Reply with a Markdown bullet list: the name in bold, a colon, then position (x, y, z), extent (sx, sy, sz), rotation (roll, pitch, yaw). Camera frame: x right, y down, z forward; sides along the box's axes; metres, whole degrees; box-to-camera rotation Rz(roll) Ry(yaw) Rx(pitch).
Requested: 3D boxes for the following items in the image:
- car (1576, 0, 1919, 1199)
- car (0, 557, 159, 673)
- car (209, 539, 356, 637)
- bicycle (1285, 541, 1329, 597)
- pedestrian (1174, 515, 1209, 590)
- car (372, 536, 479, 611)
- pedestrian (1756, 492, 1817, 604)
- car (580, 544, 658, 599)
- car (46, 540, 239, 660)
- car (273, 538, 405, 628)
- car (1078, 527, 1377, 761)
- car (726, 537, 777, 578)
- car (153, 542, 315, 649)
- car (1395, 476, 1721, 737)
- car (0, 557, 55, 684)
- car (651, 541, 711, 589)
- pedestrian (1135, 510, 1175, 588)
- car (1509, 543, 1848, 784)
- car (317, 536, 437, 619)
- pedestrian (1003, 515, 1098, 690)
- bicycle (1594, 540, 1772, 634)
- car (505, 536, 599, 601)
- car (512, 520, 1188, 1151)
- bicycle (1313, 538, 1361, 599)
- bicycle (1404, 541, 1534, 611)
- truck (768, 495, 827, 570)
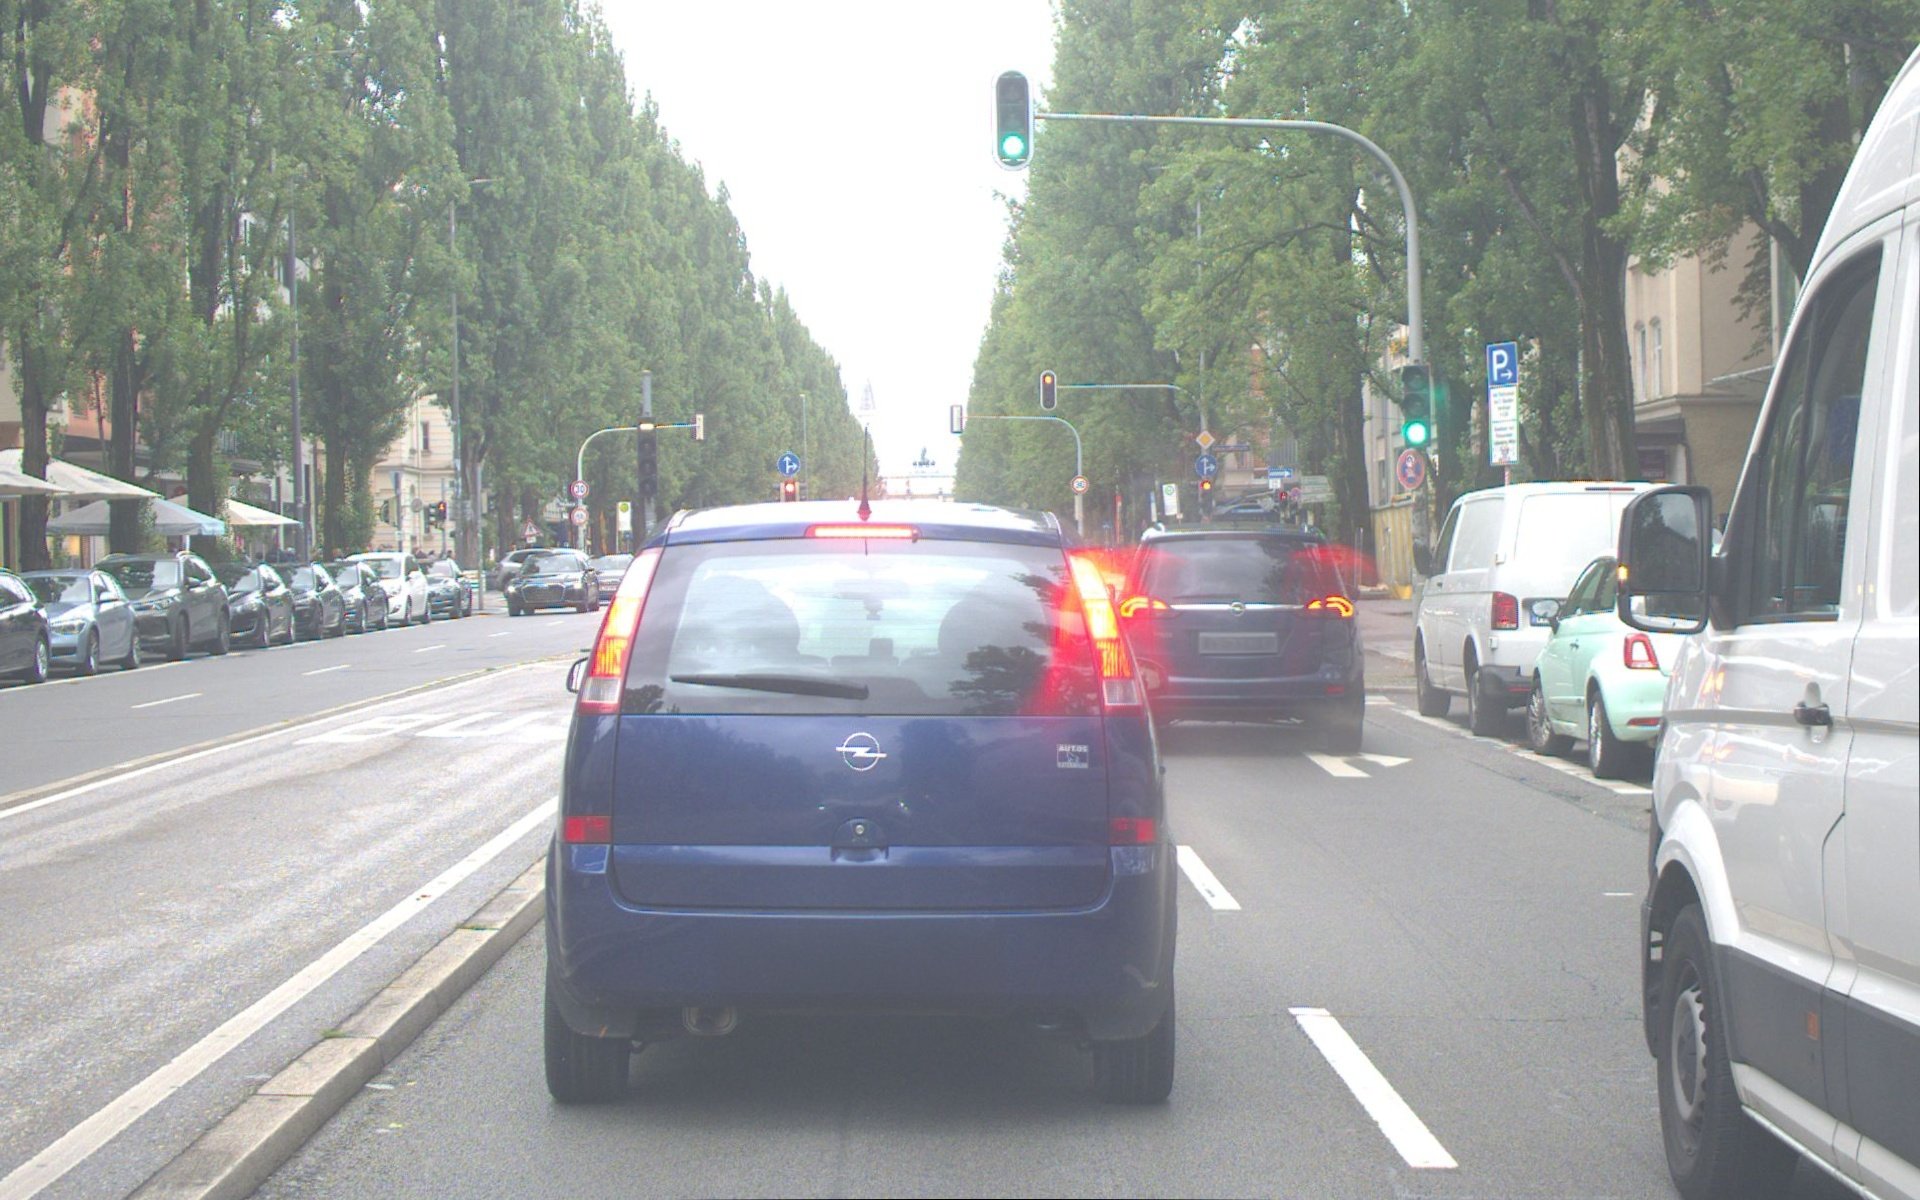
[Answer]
- **car**: position (2.594, 0.181, 5.256), extent (2.063, 2.484, 6.730), rotation (0, 1, 0)
- **car**: position (-12.246, 0.183, 46.709), extent (1.733, 1.421, 4.144), rotation (-2, 1, -1)
- **car**: position (-12.494, -0.256, 63.605), extent (1.866, 1.660, 4.120), rotation (-2, 1, -1)
- **bicycle**: position (8.568, -0.770, 84.917), extent (0.772, 1.344, 2.449), rotation (-1, 1, -1)
- **pedestrian**: position (5.711, -1.171, 84.770), extent (0.636, 1.820, 0.888), rotation (1, 0, -10)
- **car**: position (-12.658, -0.656, 81.666), extent (1.866, 1.660, 4.120), rotation (-2, 1, -1)
- **pedestrian**: position (12.672, -0.793, 52.719), extent (0.673, 1.680, 0.759), rotation (-2, 0, -5)
- **car**: position (-9.530, -0.821, 96.250), extent (1.745, 1.429, 4.130), rotation (-2, 1, -1)
- **car**: position (-12.392, -0.038, 52.373), extent (1.866, 1.660, 4.401), rotation (-2, 1, -1)
- **car**: position (-12.451, -0.374, 69.131), extent (1.866, 1.660, 4.120), rotation (-2, 1, -1)
- **car**: position (1.915, 0.265, 25.737), extent (1.896, 1.616, 4.000), rotation (0, 1, 0)
- **car**: position (-7.790, -1.593, 128.599), extent (1.735, 1.460, 3.365), rotation (-1, 1, -1)
- **car**: position (-12.367, -0.108, 58.826), extent (1.866, 1.660, 4.120), rotation (-2, 1, -1)
- **car**: position (4.765, -0.002, 28.032), extent (1.787, 1.939, 4.731), rotation (0, 1, -1)
- **car**: position (-12.304, 0.286, 41.121), extent (1.798, 1.483, 4.351), rotation (-2, 1, -1)
- **car**: position (-10.095, -1.282, 124.548), extent (1.866, 1.660, 4.120), rotation (-1, 1, -1)
- **pedestrian**: position (4.560, -1.194, 80.386), extent (0.719, 1.820, 0.888), rotation (1, 0, -10)
- **car**: position (4.718, 0.366, 23.003), extent (1.541, 1.487, 3.523), rotation (0, 1, 0)
- **car**: position (-12.580, -0.511, 74.391), extent (1.866, 1.660, 4.120), rotation (-2, 1, -1)
- **pedestrian**: position (0.883, 0.016, 33.612), extent (0.859, 1.678, 0.627), rotation (-1, 1, -3)
- **bicycle**: position (9.696, -0.185, 46.110), extent (2.227, 1.200, 0.626), rotation (-1, 1, -2)
- **car**: position (-9.855, -0.779, 83.321), extent (1.697, 1.457, 4.713), rotation (-2, 1, -1)
- **car**: position (-0.285, 0.544, 10.510), extent (1.671, 1.563, 4.000), rotation (0, 1, 0)
- **bicycle**: position (8.619, -0.730, 78.696), extent (0.772, 1.344, 2.449), rotation (-1, 1, -1)
- **bicycle**: position (9.220, -0.440, 62.299), extent (2.227, 1.200, 0.626), rotation (-1, 1, -2)
- **truck**: position (-7.449, -3.099, 158.135), extent (2.383, 3.335, 7.111), rotation (-1, 1, -1)
